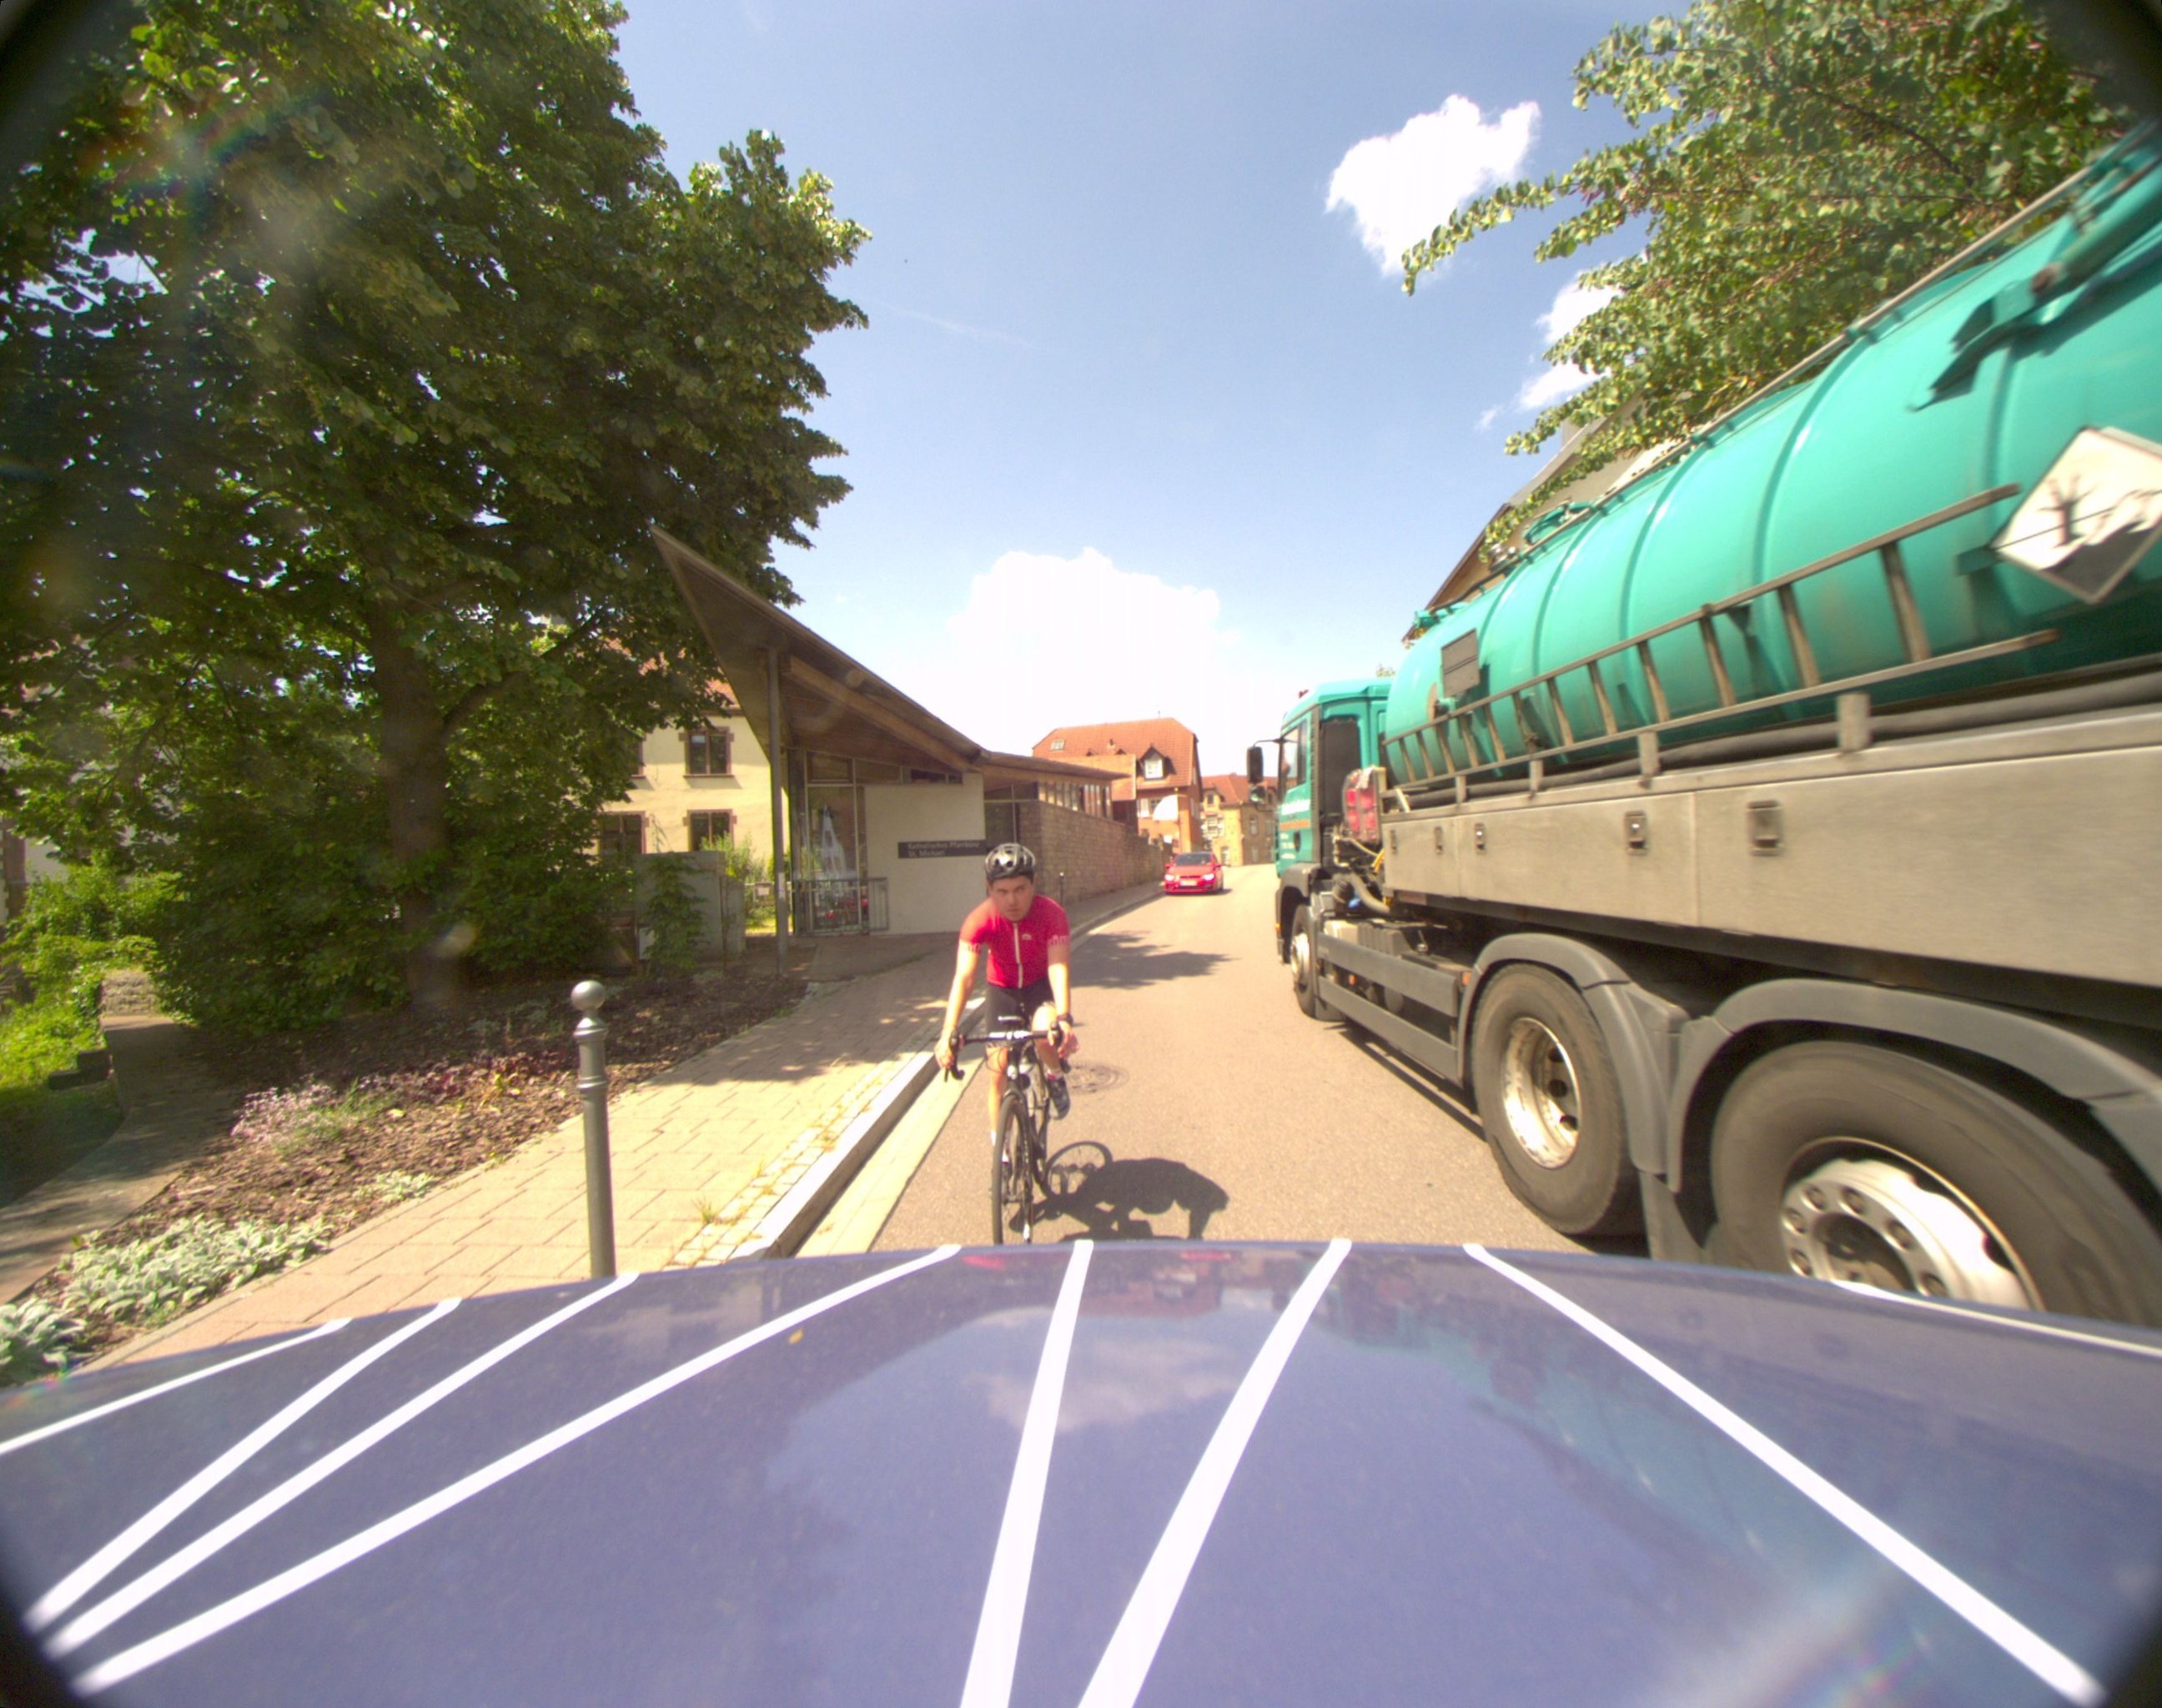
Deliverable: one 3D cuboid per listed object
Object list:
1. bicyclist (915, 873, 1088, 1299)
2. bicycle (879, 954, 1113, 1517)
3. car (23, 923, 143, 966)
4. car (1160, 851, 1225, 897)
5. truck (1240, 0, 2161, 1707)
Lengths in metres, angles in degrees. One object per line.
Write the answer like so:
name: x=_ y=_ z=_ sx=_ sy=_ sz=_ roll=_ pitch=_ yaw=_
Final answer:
bicyclist: x=-0.285 y=0.791 z=2.940 sx=0.532 sy=1.396 sz=0.755 roll=-2 pitch=1 yaw=-3
bicycle: x=-0.258 y=1.068 z=2.884 sx=0.531 sy=1.070 sz=2.053 roll=-2 pitch=1 yaw=-3
car: x=-44.520 y=4.001 z=34.011 sx=1.672 sy=1.495 sz=3.804 roll=-3 pitch=-1 yaw=-26
car: x=3.811 y=0.617 z=25.517 sx=1.667 sy=1.344 sz=3.498 roll=-2 pitch=1 yaw=16
truck: x=2.914 y=-0.269 z=4.105 sx=2.417 sy=3.637 sz=9.567 roll=-1 pitch=1 yaw=2
